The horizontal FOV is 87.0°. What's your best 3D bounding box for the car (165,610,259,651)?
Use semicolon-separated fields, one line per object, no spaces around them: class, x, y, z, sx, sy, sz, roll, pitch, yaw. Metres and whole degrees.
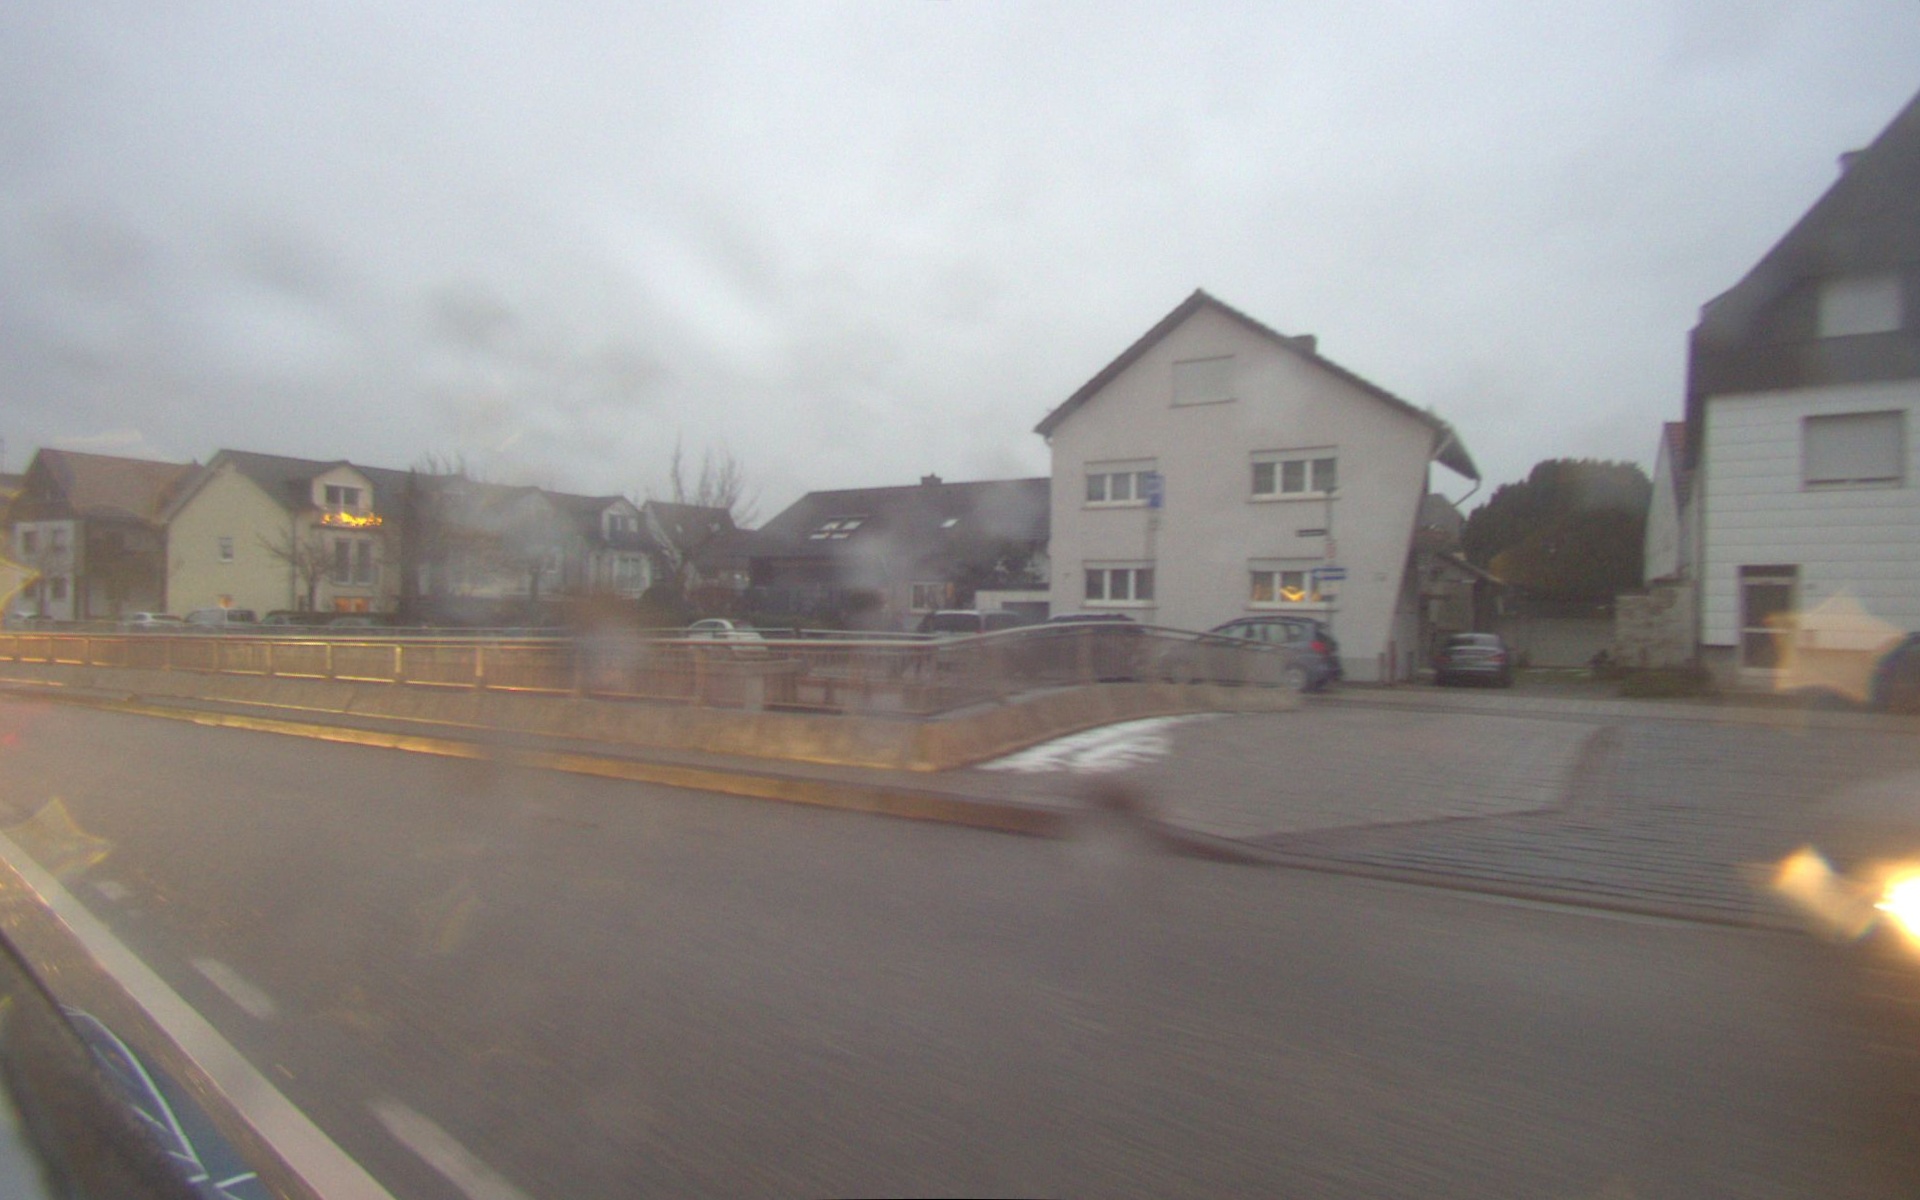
car;-34.953;1.387;47.256;4.234;1.841;1.784;0;-1;26

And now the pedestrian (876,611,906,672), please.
pedestrian;-1.489;0.906;22.035;0.595;1.312;0.511;-1;-1;2

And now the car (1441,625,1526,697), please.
car;14.099;1.636;27.157;1.712;1.695;3.956;2;-3;32

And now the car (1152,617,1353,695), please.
car;6.626;1.206;23.089;4.082;1.581;1.760;-1;0;34

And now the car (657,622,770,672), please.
car;-7.935;1.480;32.514;3.489;1.520;1.464;-1;-1;30

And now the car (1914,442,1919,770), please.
car;4.430;0.365;1.490;4.125;1.826;1.705;-1;-1;34

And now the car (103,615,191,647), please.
car;-39.998;1.538;49.789;3.990;1.480;1.663;-1;-3;22

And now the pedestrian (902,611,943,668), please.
pedestrian;-0.834;0.872;22.554;0.601;1.259;0.684;-1;-1;35

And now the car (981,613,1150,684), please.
car;2.655;1.170;25.664;3.945;1.673;1.686;-1;0;31

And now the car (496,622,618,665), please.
car;-14.663;1.542;36.790;4.235;1.480;1.784;0;-1;27

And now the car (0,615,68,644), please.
car;-50.809;1.582;54.927;4.585;1.480;1.786;0;-1;23

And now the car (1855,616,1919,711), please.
car;18.454;1.086;17.435;4.418;1.511;1.893;-2;2;39

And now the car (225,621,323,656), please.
car;-30.555;1.670;45.082;4.235;1.480;1.784;0;-1;27

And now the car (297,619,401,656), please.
car;-25.713;1.539;42.559;4.235;1.480;1.784;0;-1;27

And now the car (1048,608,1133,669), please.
car;4.462;1.350;34.271;1.467;1.952;3.664;-2;-5;32
